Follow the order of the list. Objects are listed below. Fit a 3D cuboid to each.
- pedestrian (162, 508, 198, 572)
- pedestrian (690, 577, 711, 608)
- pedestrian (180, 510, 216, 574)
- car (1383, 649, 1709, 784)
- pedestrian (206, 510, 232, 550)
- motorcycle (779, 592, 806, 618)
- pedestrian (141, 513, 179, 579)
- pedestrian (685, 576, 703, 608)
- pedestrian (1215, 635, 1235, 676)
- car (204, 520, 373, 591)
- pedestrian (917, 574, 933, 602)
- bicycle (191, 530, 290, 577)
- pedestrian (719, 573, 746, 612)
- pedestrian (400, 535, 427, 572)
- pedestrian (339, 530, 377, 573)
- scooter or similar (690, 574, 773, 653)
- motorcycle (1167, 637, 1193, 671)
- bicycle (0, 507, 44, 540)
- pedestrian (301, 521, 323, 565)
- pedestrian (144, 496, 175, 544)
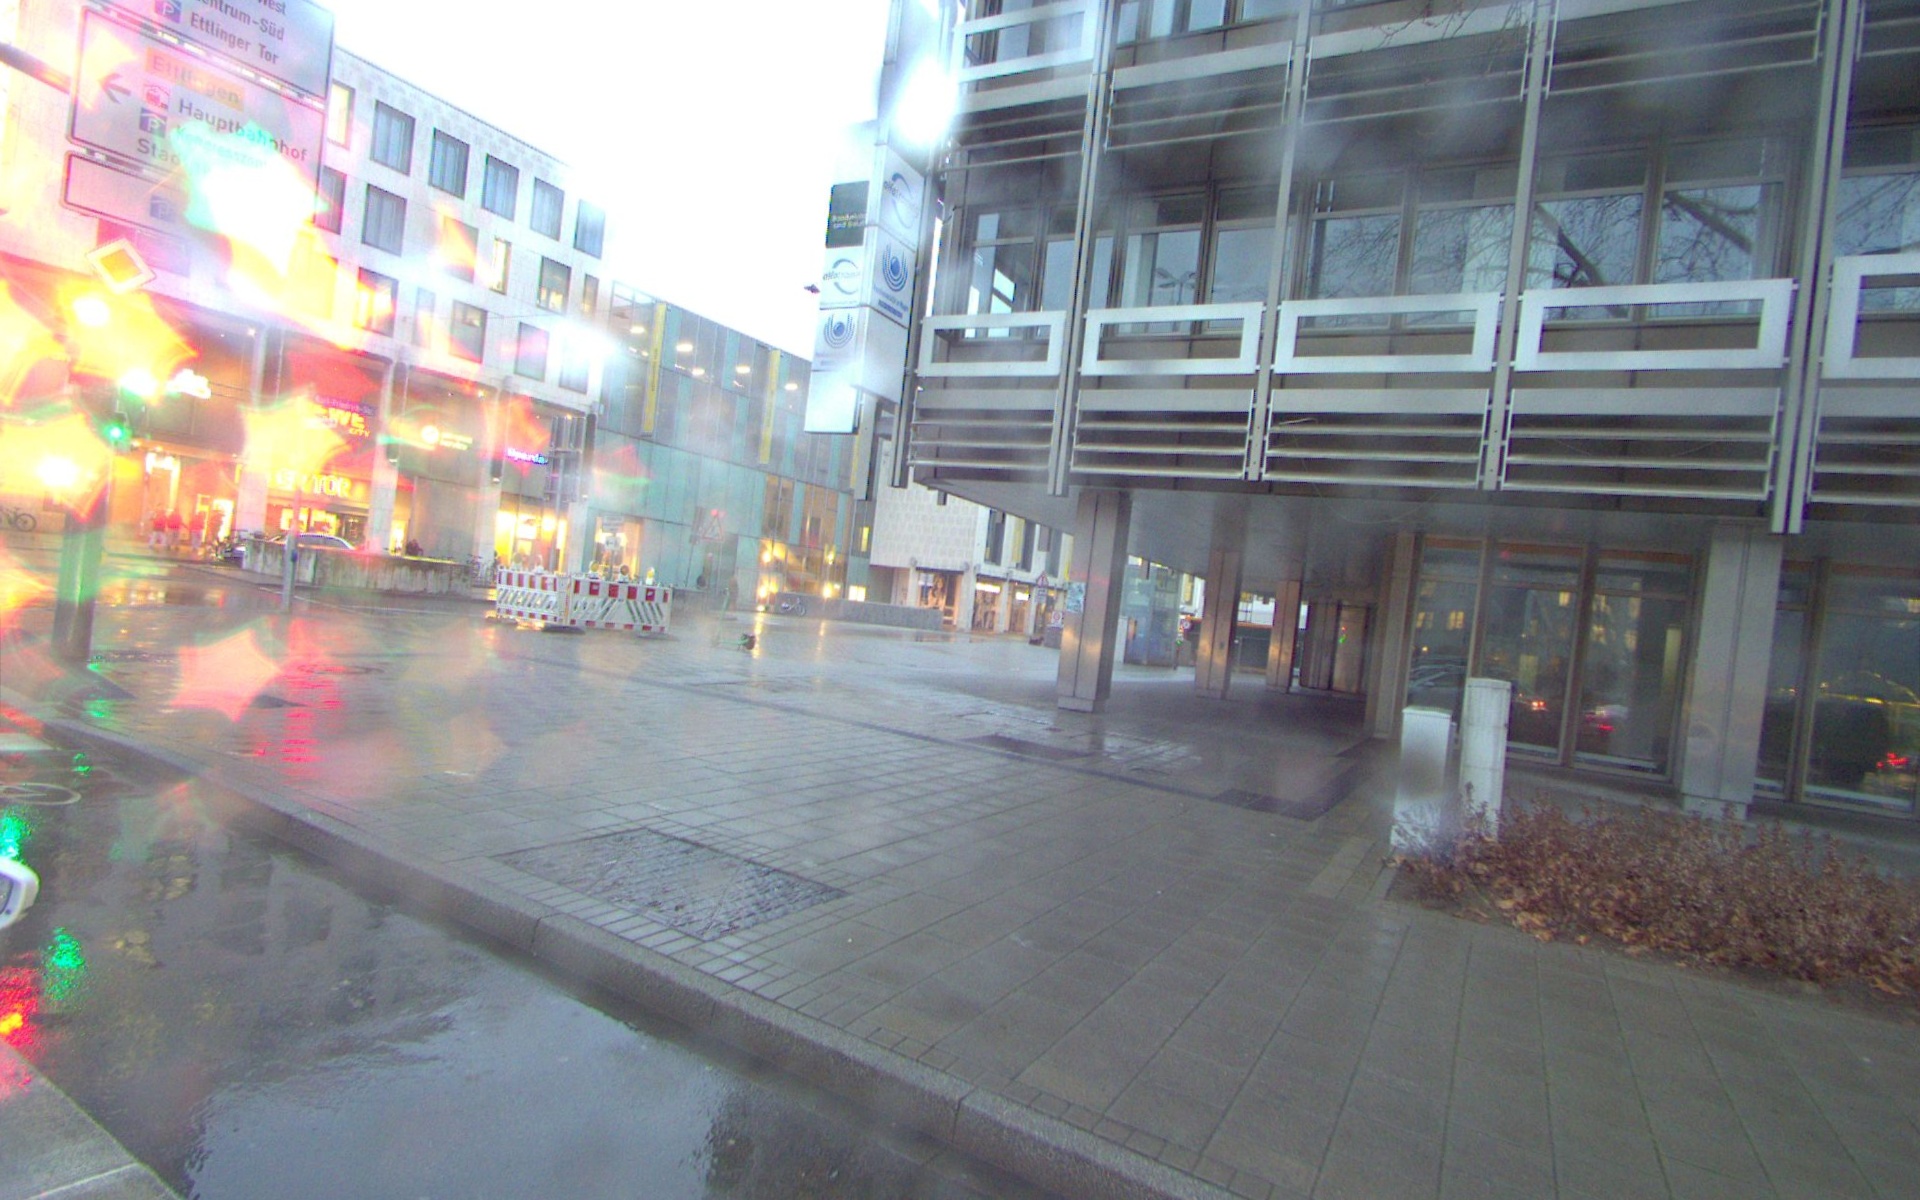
[{"bbox_3d":[-31.501,-2.409,40.632,0.745,2.469,0.691,7,-1,31],"label":"pedestrian"},{"bbox_3d":[-15.482,-0.460,60.058,0.770,1.703,0.742,6,-1,38],"label":"pedestrian"},{"bbox_3d":[-31.344,-2.389,41.373,0.778,2.477,0.694,7,-1,32],"label":"pedestrian"},{"bbox_3d":[8.771,1.663,15.303,3.935,1.327,1.994,6,1,33],"label":"car"},{"bbox_3d":[-33.566,-3.167,45.592,0.729,1.740,0.733,6,1,-31],"label":"pedestrian"},{"bbox_3d":[-10.155,0.293,61.143,0.585,1.368,1.491,7,-1,36],"label":"motorcycle"},{"bbox_3d":[-31.578,-2.131,39.716,0.745,2.469,0.716,7,-1,31],"label":"pedestrian"},{"bbox_3d":[-15.129,-0.448,57.163,0.573,1.703,0.542,6,-1,38],"label":"pedestrian"},{"bbox_3d":[12.029,2.516,45.596,0.678,1.796,0.660,7,-1,16],"label":"pedestrian"},{"bbox_3d":[-21.706,-1.406,32.680,1.968,1.636,3.994,6,-2,33],"label":"car"},{"bbox_3d":[-2.218,-0.774,64.088,0.573,1.703,0.542,6,-1,38],"label":"pedestrian"},{"bbox_3d":[-26.331,-1.680,36.875,0.941,1.375,2.718,6,-1,28],"label":"bicycle"},{"bbox_3d":[-10.862,-0.358,47.961,0.770,1.703,0.742,6,-1,38],"label":"pedestrian"},{"bbox_3d":[-26.497,-2.242,48.766,0.519,1.705,0.894,6,0,31],"label":"pedestrian"},{"bbox_3d":[-26.929,-2.166,45.044,0.810,1.703,1.032,6,-1,31],"label":"pedestrian"},{"bbox_3d":[-4.595,0.264,20.166,1.470,1.368,0.593,7,-1,32],"label":"scooter or similar"},{"bbox_3d":[9.669,2.388,44.202,0.584,1.368,1.493,7,-1,29],"label":"motorcycle"},{"bbox_3d":[-36.399,-2.976,38.616,0.515,1.082,1.651,7,-2,28],"label":"bicycle"},{"bbox_3d":[-28.656,-2.510,44.492,0.355,1.849,0.551,6,1,32],"label":"pedestrian"},{"bbox_3d":[-36.146,-3.614,45.420,0.688,2.039,0.845,7,1,40],"label":"pedestrian"}]
